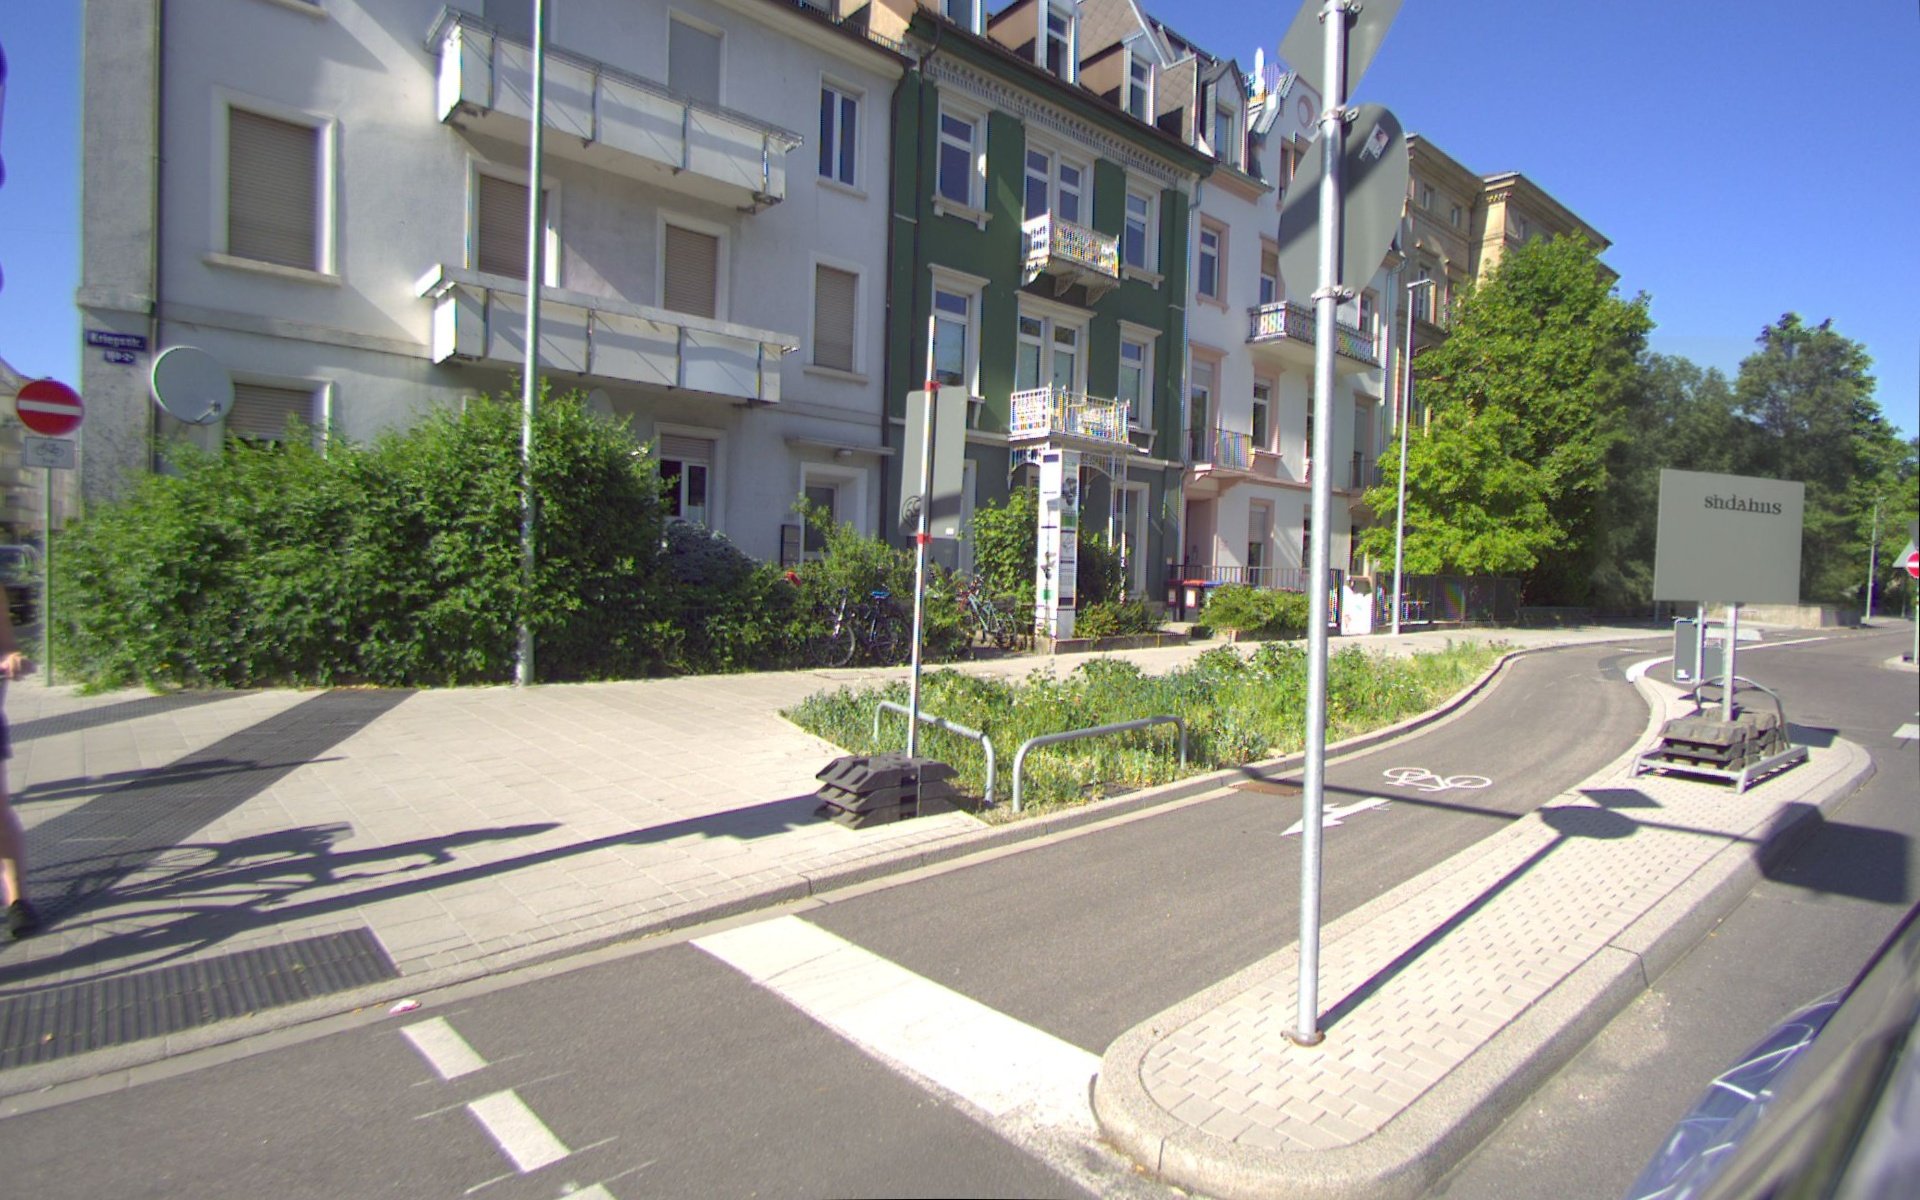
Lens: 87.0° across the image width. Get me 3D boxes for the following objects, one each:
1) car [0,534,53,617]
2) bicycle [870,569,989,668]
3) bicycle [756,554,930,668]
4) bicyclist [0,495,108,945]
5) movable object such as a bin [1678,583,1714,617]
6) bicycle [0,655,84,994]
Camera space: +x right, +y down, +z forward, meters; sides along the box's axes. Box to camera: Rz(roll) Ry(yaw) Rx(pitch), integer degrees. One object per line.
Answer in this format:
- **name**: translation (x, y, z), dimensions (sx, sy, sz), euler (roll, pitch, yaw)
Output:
- **car**: translation (-21.921, -0.579, 22.637), dimensions (1.962, 1.735, 4.000), euler (1, 1, -36)
- **bicycle**: translation (-0.547, 0.265, 16.751), dimensions (0.627, 1.503, 2.258), euler (1, 1, -42)
- **bicycle**: translation (-1.579, 0.148, 14.074), dimensions (2.448, 1.462, 0.709), euler (1, 0, -43)
- **bicyclist**: translation (-3.965, 0.452, 4.035), dimensions (0.843, 1.730, 0.604), euler (1, 1, -41)
- **movable object such as a bin**: translation (32.895, 0.002, 45.252), dimensions (0.964, 1.415, 1.276), euler (5, 2, 26)
- **bicycle**: translation (-3.970, 0.805, 4.115), dimensions (0.594, 1.038, 1.966), euler (1, 0, -41)
